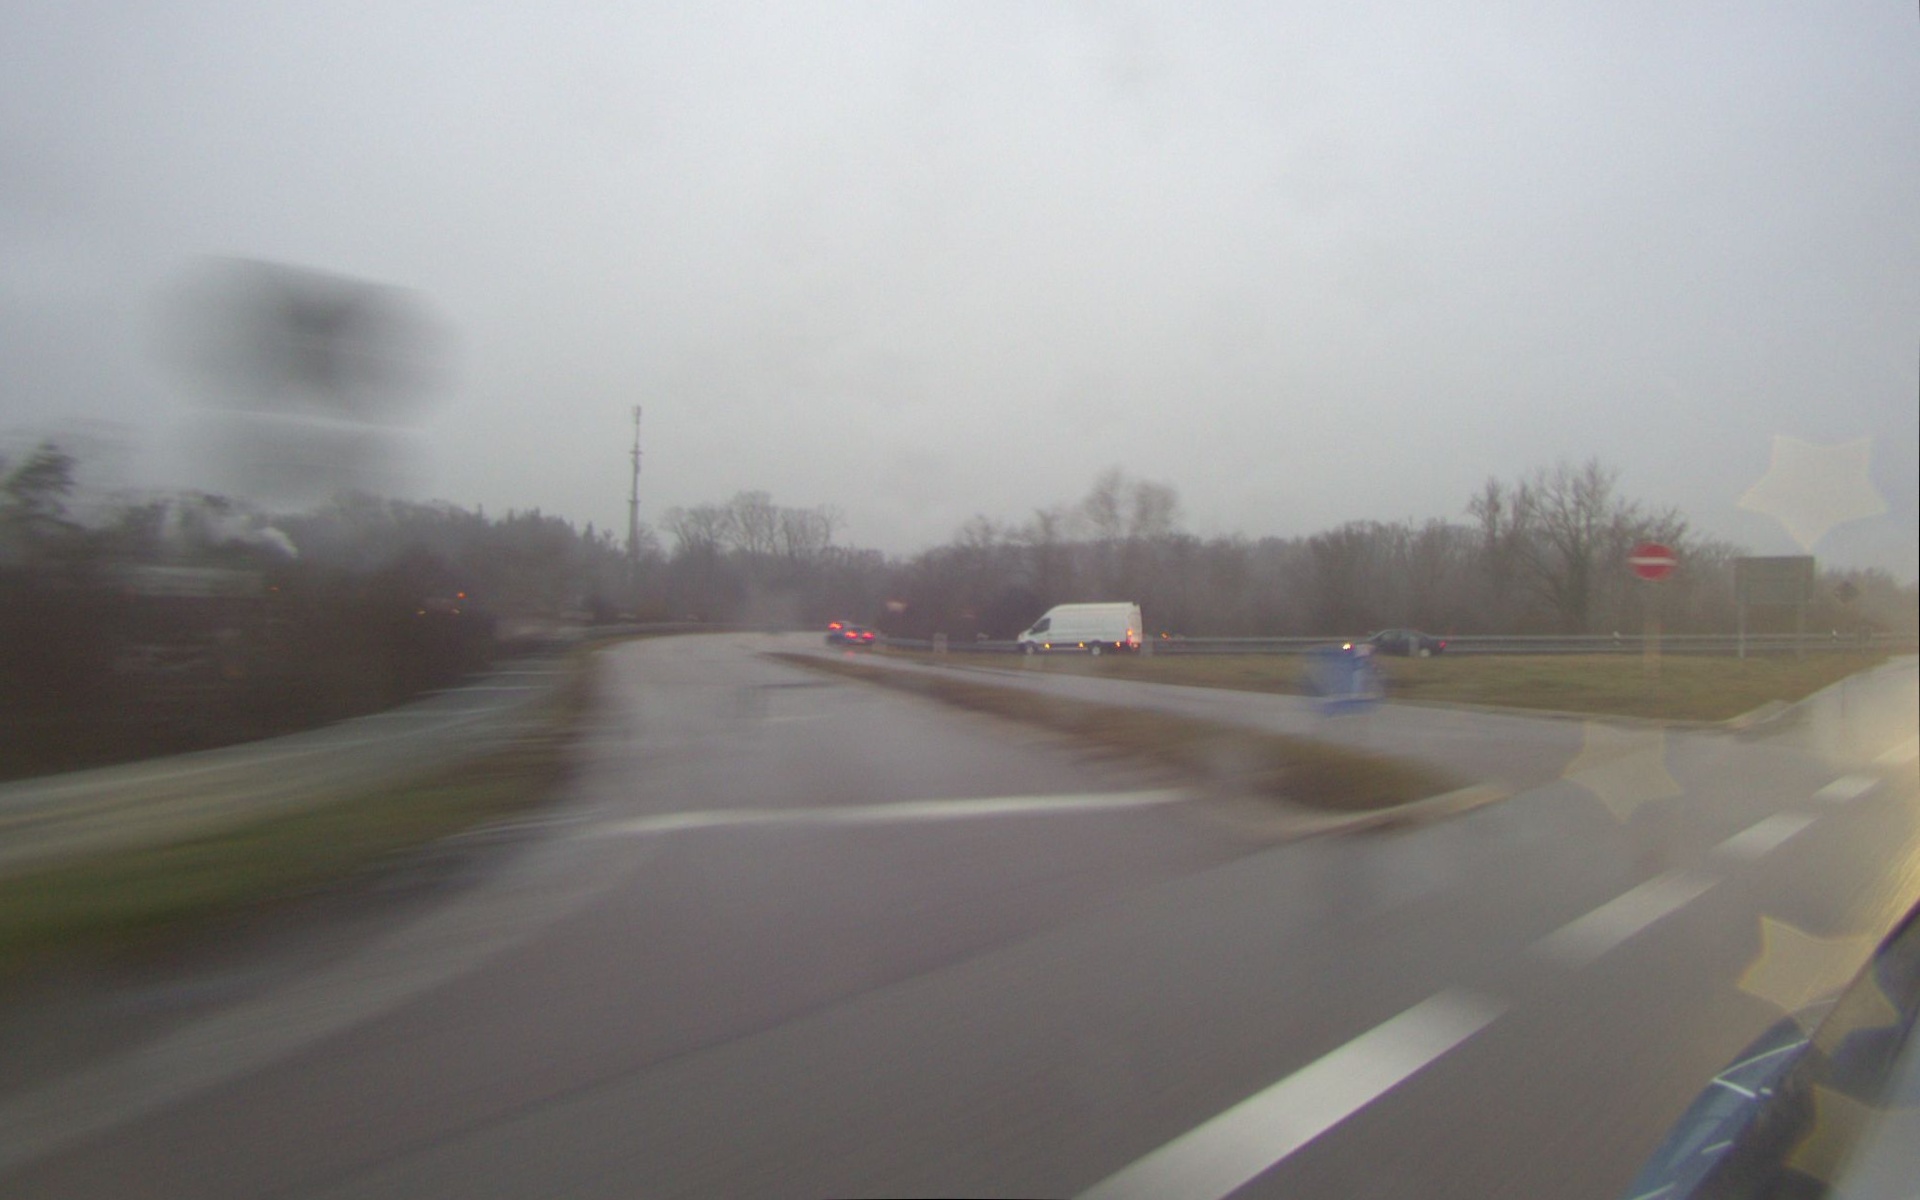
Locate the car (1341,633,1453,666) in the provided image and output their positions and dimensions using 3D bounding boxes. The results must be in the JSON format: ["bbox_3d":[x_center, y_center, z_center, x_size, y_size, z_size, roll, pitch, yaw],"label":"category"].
[{"bbox_3d":[19.658,2.228,45.663,4.307,1.433,1.736,0,-3,10],"label":"car"}]

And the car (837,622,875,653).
[{"bbox_3d":[-6.877,2.430,66.514,1.958,1.960,4.915,1,-1,-12],"label":"car"}]

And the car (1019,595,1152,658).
[{"bbox_3d":[6.340,1.359,51.577,6.337,3.005,2.263,-1,-5,31],"label":"car"}]
